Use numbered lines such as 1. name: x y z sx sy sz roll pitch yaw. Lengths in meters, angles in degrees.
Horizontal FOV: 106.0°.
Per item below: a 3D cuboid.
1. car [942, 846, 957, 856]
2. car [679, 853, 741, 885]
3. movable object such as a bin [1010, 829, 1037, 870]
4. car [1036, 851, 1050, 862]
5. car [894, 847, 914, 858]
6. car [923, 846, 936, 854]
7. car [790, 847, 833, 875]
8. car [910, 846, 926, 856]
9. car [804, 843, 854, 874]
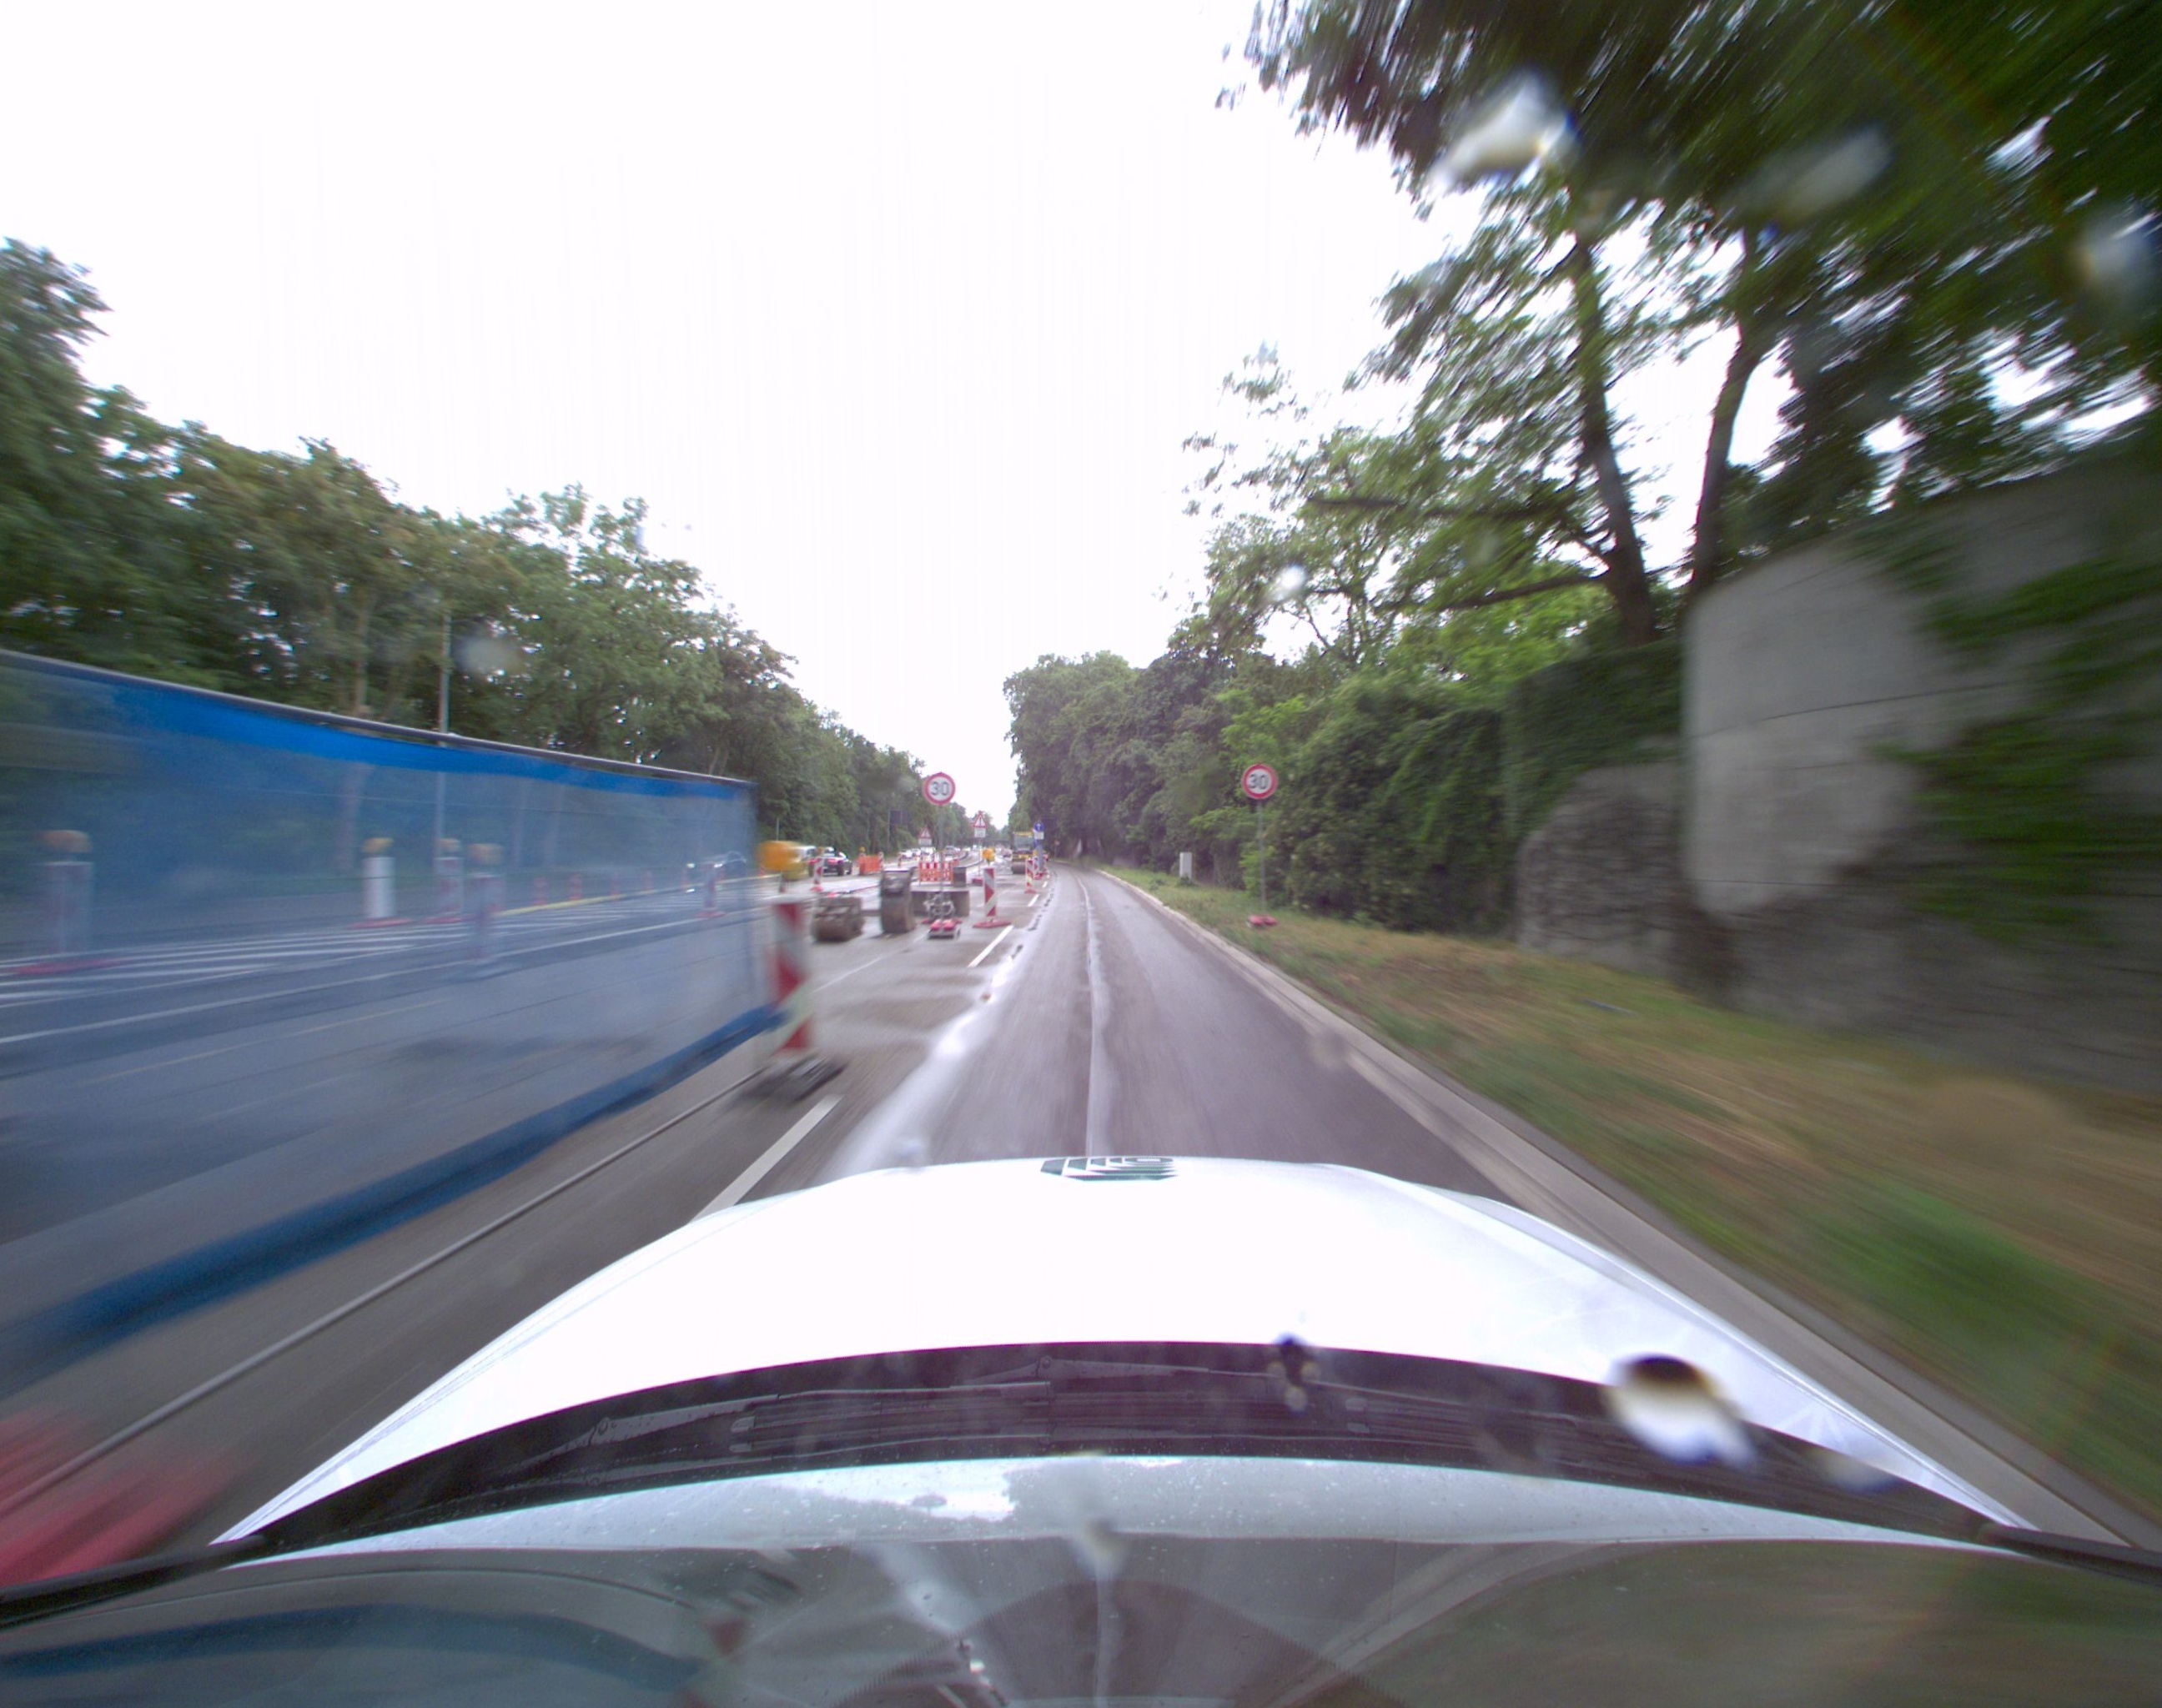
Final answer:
1. car: -24.556 -0.529 152.062 1.921 1.778 4.652 0 0 0
2. car: -18.074 0.700 39.875 1.424 1.407 3.821 -1 0 -3
3. movable object such as a bin: -4.060 -0.322 57.639 1.742 2.867 3.532 0 0 -2
4. car: -5.991 0.320 127.272 1.908 1.597 4.833 1 1 0
5. car: -26.265 -0.210 120.661 1.921 1.665 4.652 0 0 0
6. car: -31.895 -0.861 171.205 1.921 1.665 4.652 0 0 0
7. car: -17.276 0.432 52.446 1.423 1.695 4.128 -1 0 -1
8. car: -28.780 -0.565 143.620 1.921 1.665 4.652 0 0 0
9. car: -14.209 0.197 46.086 1.859 1.491 3.995 2 3 -5
